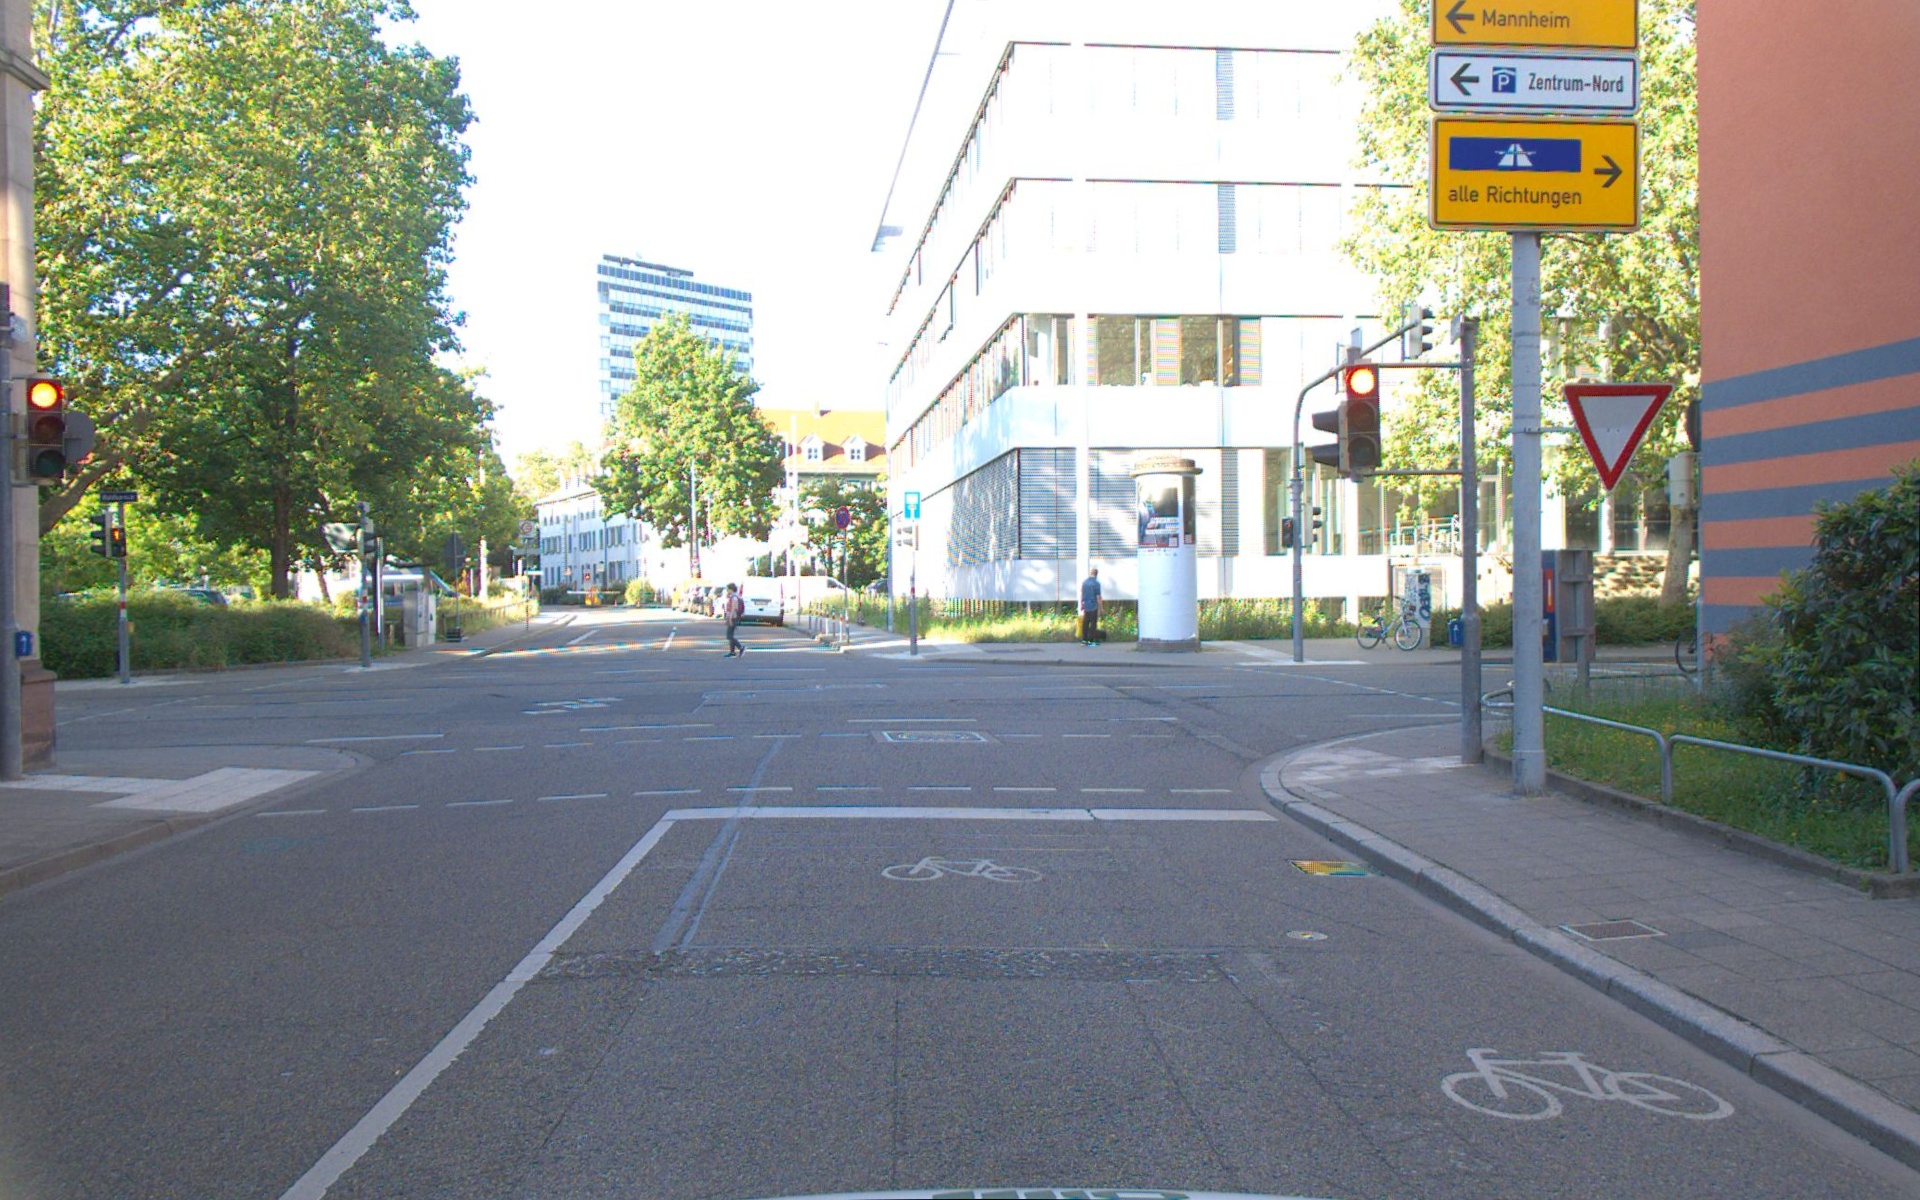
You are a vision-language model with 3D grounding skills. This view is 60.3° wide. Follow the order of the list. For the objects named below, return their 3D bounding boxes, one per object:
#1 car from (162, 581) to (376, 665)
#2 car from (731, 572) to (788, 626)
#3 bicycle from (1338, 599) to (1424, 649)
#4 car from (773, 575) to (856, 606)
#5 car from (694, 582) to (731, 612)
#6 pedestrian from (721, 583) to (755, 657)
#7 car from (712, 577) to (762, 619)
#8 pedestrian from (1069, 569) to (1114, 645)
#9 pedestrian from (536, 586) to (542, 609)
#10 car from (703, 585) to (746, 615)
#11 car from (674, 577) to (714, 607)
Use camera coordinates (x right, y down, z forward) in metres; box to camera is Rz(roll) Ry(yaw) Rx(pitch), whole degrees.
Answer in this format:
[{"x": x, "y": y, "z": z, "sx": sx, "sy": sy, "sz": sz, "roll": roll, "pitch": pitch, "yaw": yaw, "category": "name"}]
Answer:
[{"x": -15.767, "y": 0.505, "z": 37.915, "sx": 4.146, "sy": 1.808, "sz": 1.901, "roll": -1, "pitch": 0, "yaw": -9, "category": "car"}, {"x": -7.866, "y": -0.069, "z": 64.533, "sx": 2.029, "sy": 1.997, "sz": 4.229, "roll": -1, "pitch": 1, "yaw": -9, "category": "car"}, {"x": 9.220, "y": 0.509, "z": 36.260, "sx": 0.460, "sy": 1.067, "sz": 1.886, "roll": -1, "pitch": 1, "yaw": -42, "category": "bicycle"}, {"x": -9.041, "y": -0.577, "z": 102.730, "sx": 4.804, "sy": 1.905, "sz": 1.990, "roll": 1, "pitch": -1, "yaw": -17, "category": "car"}, {"x": -12.855, "y": -0.147, "z": 85.653, "sx": 1.674, "sy": 1.490, "sz": 4.226, "roll": -1, "pitch": 1, "yaw": -11, "category": "car"}, {"x": -4.937, "y": 0.438, "z": 36.769, "sx": 0.698, "sy": 1.627, "sz": 0.616, "roll": -1, "pitch": 0, "yaw": -6, "category": "pedestrian"}, {"x": -10.314, "y": -0.100, "z": 76.222, "sx": 1.913, "sy": 1.826, "sz": 4.224, "roll": -1, "pitch": 1, "yaw": -13, "category": "car"}, {"x": 3.094, "y": 0.167, "z": 38.896, "sx": 0.798, "sy": 1.766, "sz": 0.650, "roll": -1, "pitch": 0, "yaw": 45, "category": "pedestrian"}, {"x": -27.958, "y": -0.175, "z": 109.904, "sx": 0.373, "sy": 1.561, "sz": 0.444, "roll": -1, "pitch": 0, "yaw": -13, "category": "pedestrian"}, {"x": -11.586, "y": -0.014, "z": 81.238, "sx": 1.675, "sy": 1.449, "sz": 4.223, "roll": -1, "pitch": 1, "yaw": -14, "category": "car"}, {"x": -15.386, "y": -0.482, "z": 95.436, "sx": 2.063, "sy": 1.687, "sz": 4.463, "roll": -1, "pitch": 1, "yaw": -11, "category": "car"}]
